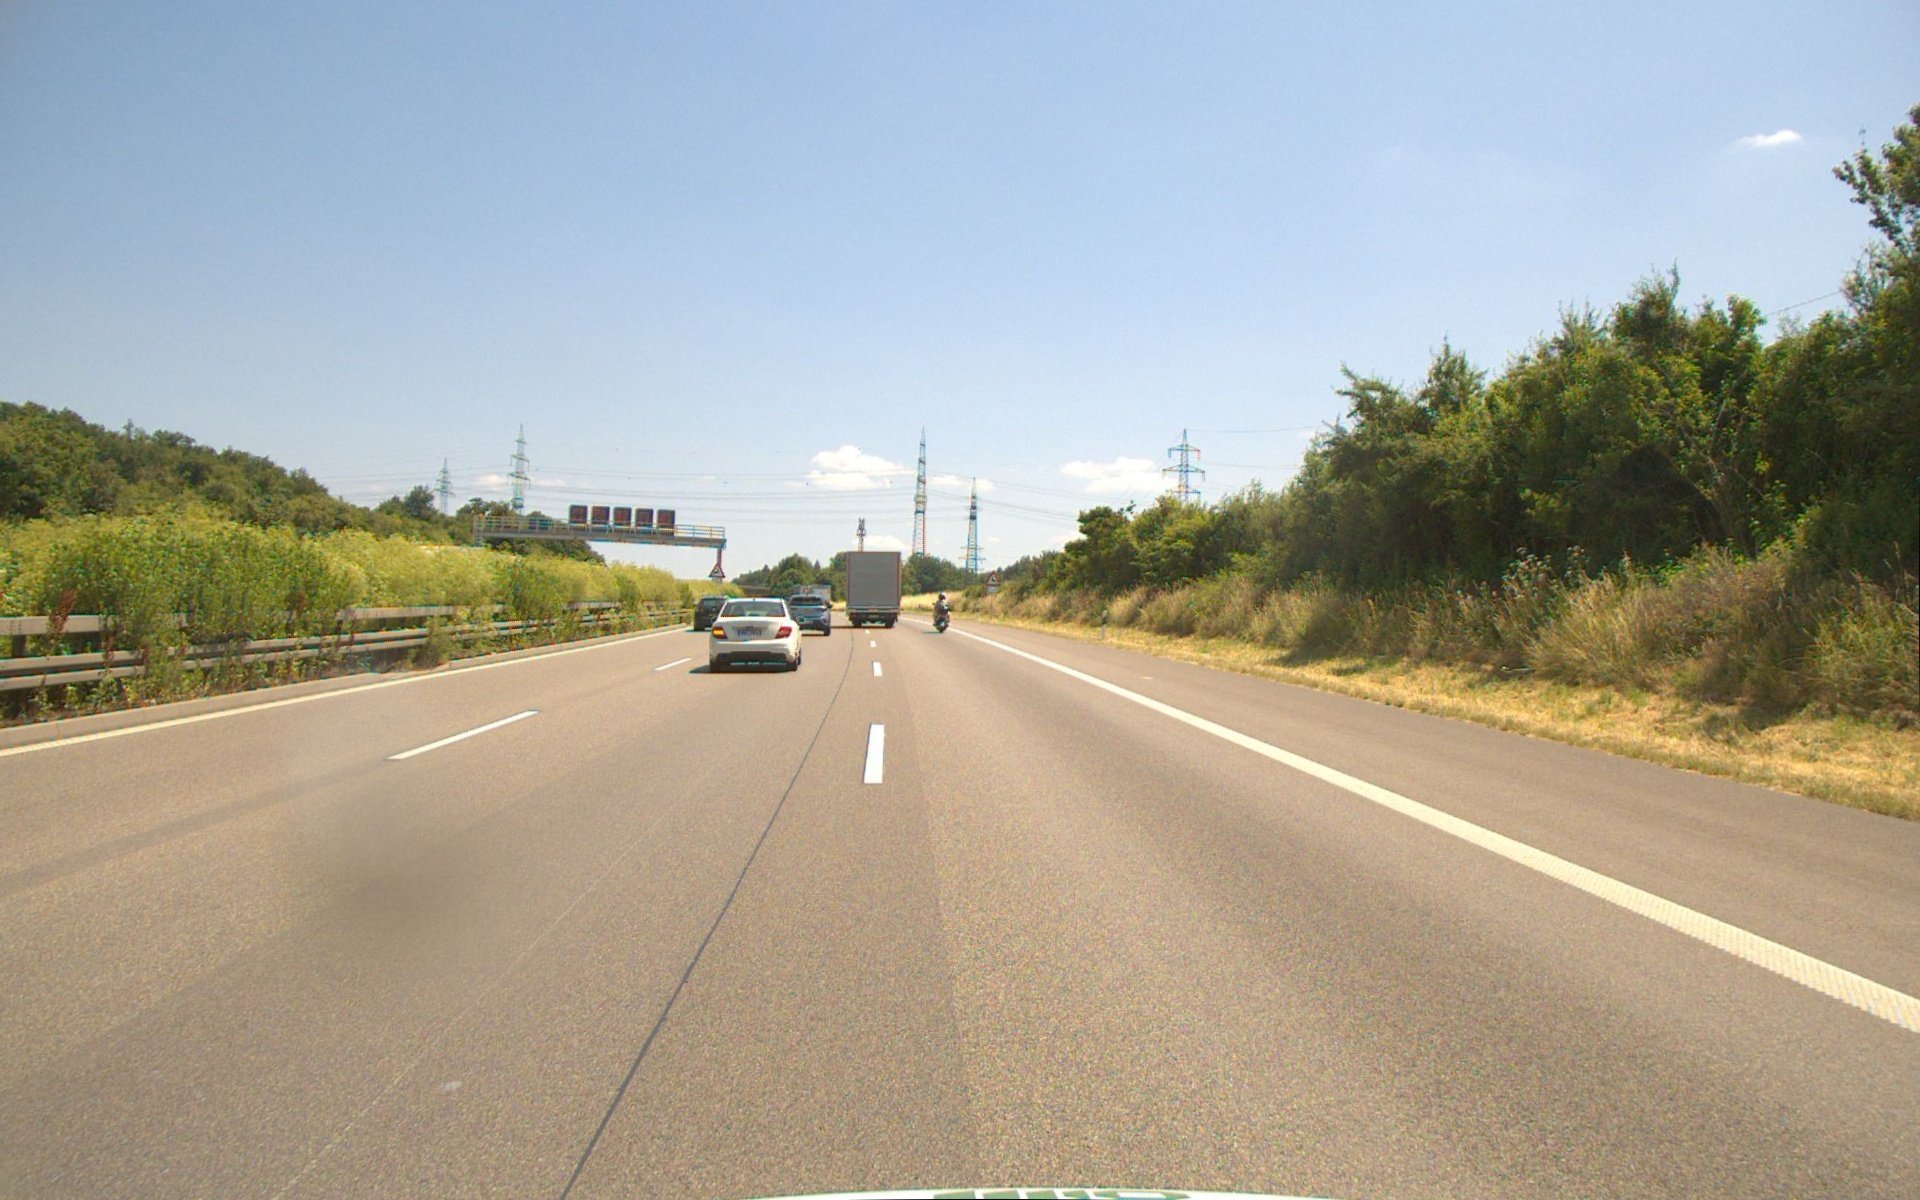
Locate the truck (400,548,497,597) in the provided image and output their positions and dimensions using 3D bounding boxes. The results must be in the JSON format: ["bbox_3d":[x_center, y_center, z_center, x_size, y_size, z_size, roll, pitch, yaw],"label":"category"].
[{"bbox_3d":[-22.291,-1.184,72.364,2.442,2.049,6.793,0,1,-3],"label":"truck"}]

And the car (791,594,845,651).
[{"bbox_3d":[-5.382,0.820,62.865,1.954,2.049,3.996,0,0,-5],"label":"car"}]

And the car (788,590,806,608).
[{"bbox_3d":[-18.907,-0.134,191.527,1.864,1.959,3.998,0,0,-3],"label":"car"}]

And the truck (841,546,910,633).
[{"bbox_3d":[-4.198,-0.463,80.791,3.157,3.993,9.053,0,0,-4],"label":"truck"}]

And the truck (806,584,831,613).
[{"bbox_3d":[-19.933,-0.183,233.536,3.415,3.981,7.283,0,0,-4],"label":"truck"}]

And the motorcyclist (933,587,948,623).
[{"bbox_3d":[-0.817,0.220,69.599,0.561,1.505,0.699,0,0,-6],"label":"motorcyclist"}]

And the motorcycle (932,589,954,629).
[{"bbox_3d":[-0.722,0.380,69.578,0.794,1.635,1.780,0,0,-6],"label":"motorcycle"}]

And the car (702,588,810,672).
[{"bbox_3d":[-4.056,0.555,33.409,1.783,1.567,3.913,0,1,-1],"label":"car"}]

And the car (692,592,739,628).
[{"bbox_3d":[-10.356,0.421,70.215,1.722,1.454,3.996,0,1,-5],"label":"car"}]
